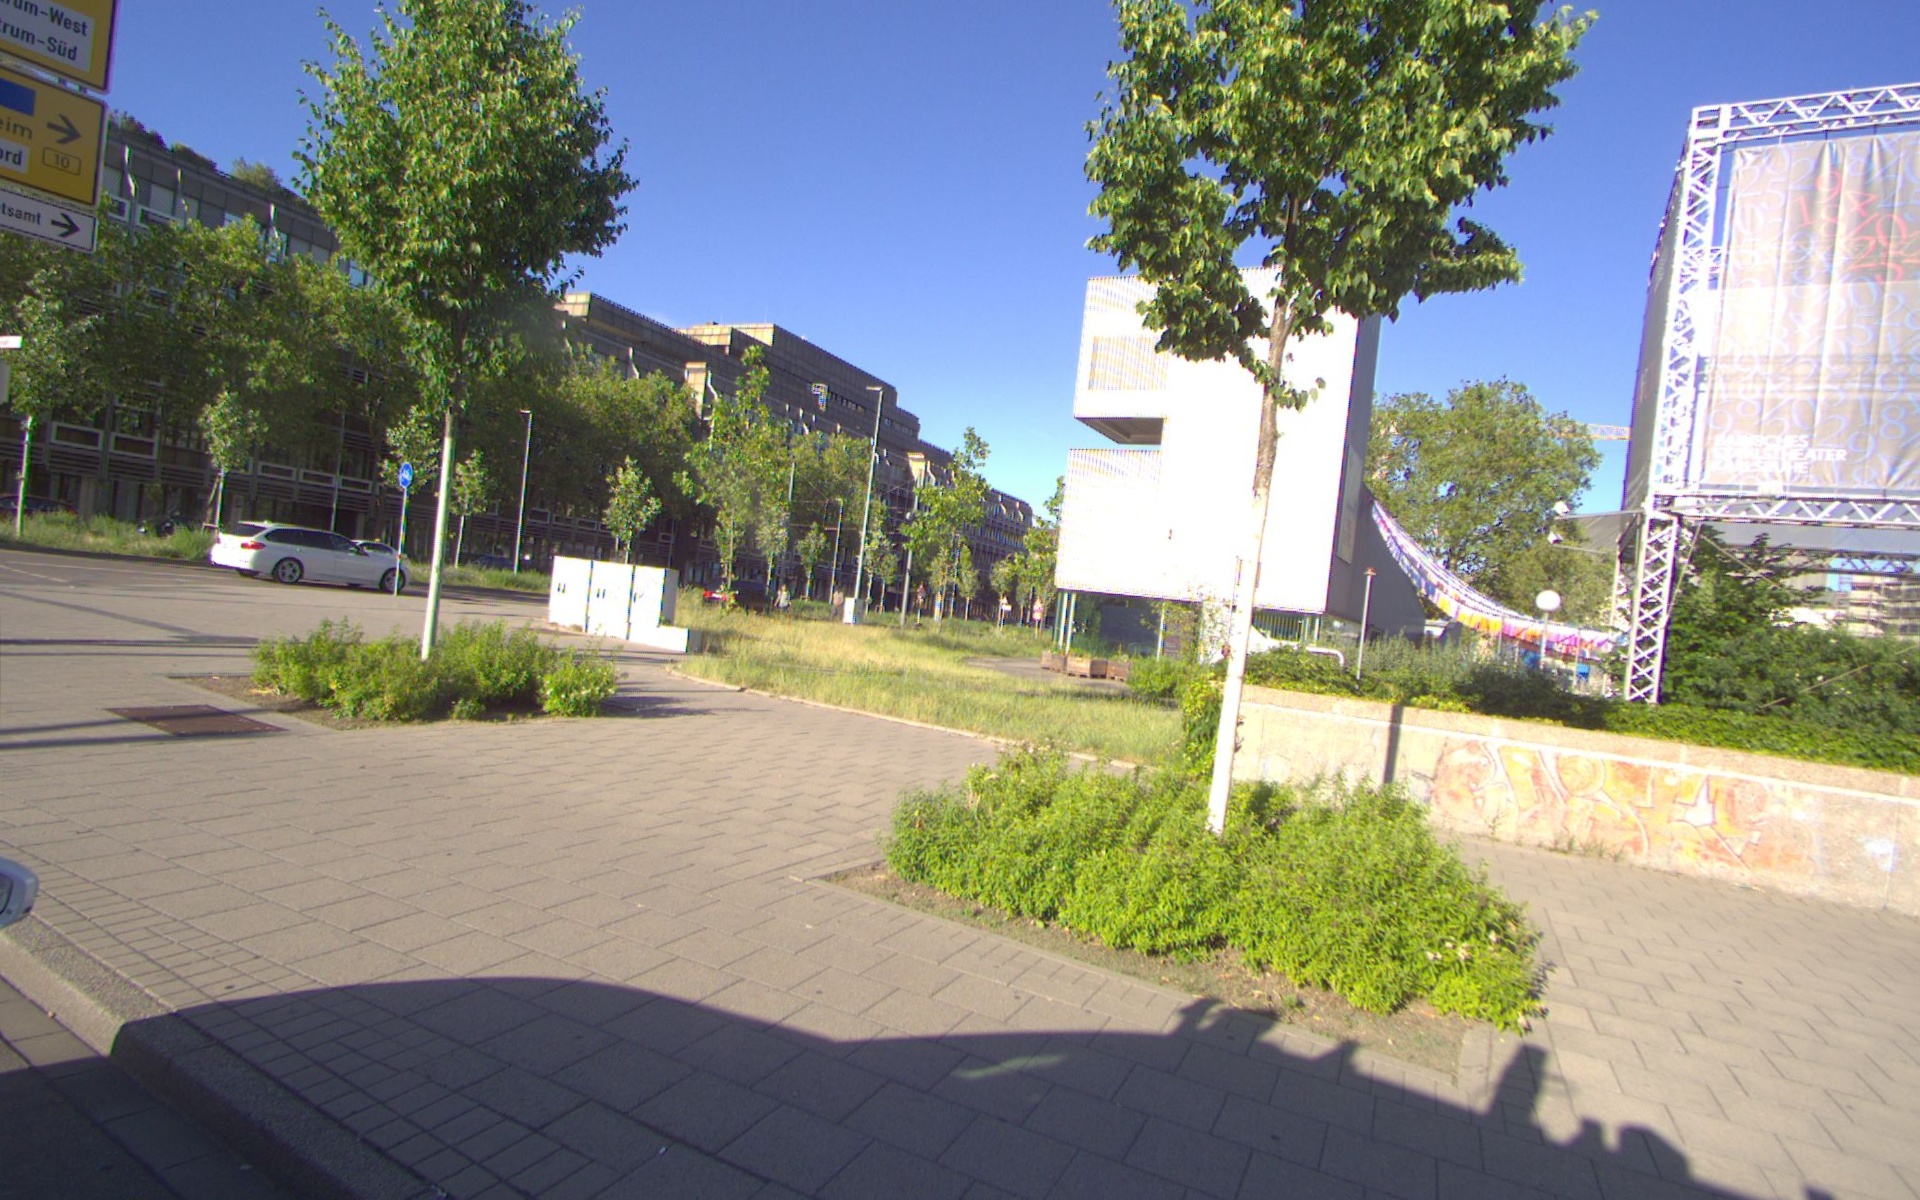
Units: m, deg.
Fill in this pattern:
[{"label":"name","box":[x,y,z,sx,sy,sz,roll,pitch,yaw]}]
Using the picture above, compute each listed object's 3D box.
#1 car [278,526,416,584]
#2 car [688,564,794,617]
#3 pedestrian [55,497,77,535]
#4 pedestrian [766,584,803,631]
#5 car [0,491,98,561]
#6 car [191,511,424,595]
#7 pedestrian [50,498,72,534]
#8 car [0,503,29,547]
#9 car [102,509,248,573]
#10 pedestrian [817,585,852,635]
[{"label":"car","box":[-30.682,-2.186,50.589,2.062,2.036,5.455,6,-2,29]},{"label":"car","box":[-9.205,-0.360,42.700,1.964,1.779,4.485,7,-1,24]},{"label":"pedestrian","box":[-42.536,-3.996,47.859,0.528,1.690,0.541,7,1,29]},{"label":"pedestrian","box":[-6.568,0.289,37.725,0.925,1.650,0.803,7,1,18]},{"label":"car","box":[-33.320,-2.713,35.378,1.966,2.037,3.997,6,-2,29]},{"label":"car","box":[-16.680,-1.136,26.039,1.963,1.546,4.701,7,-1,22]},{"label":"pedestrian","box":[-43.063,-4.017,48.190,0.576,1.610,0.541,7,1,29]},{"label":"car","box":[-37.250,-3.046,36.948,1.836,1.525,3.997,7,-2,29]},{"label":"car","box":[-34.118,-2.533,43.885,1.965,2.036,4.458,7,-2,27]},{"label":"pedestrian","box":[-4.637,0.379,37.210,0.925,1.750,0.695,7,1,18]}]
